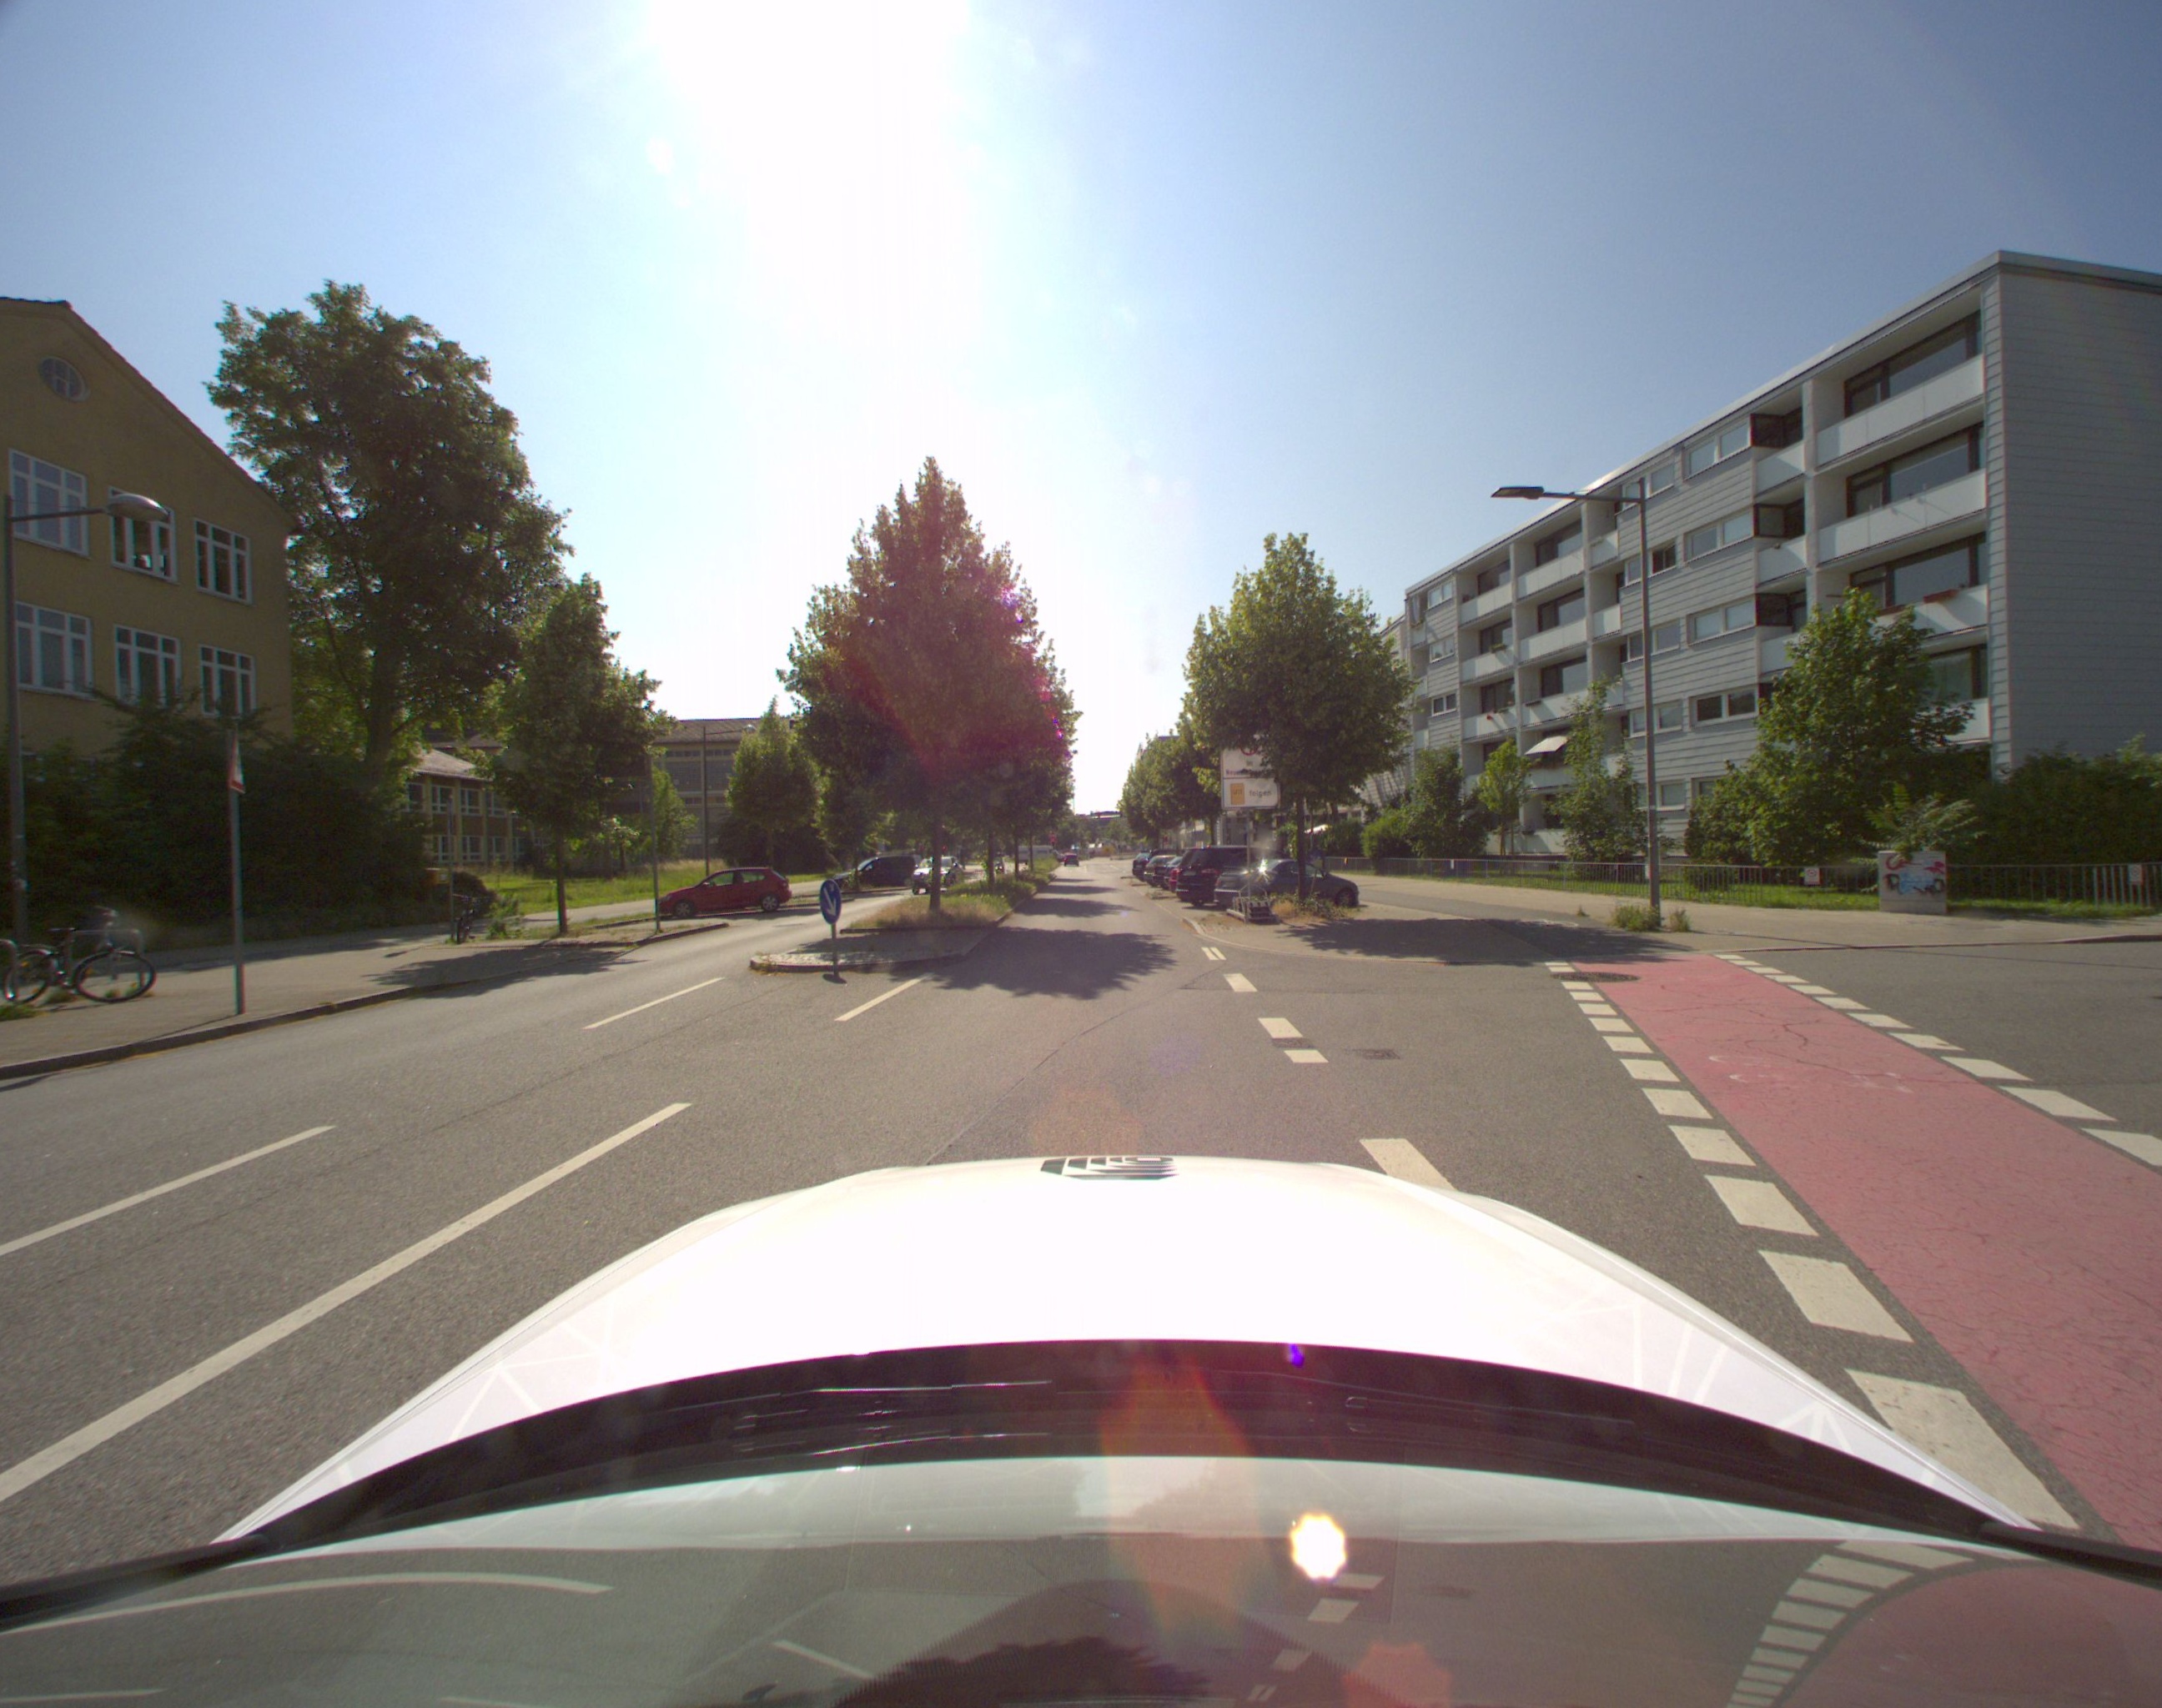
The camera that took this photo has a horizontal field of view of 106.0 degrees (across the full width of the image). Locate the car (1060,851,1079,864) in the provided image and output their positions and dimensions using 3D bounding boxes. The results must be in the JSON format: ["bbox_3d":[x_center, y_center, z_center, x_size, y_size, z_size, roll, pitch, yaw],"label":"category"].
[{"bbox_3d":[-1.373,0.350,94.695,1.989,1.398,3.996,-2,1,-3],"label":"car"}]

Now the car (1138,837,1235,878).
[{"bbox_3d":[4.719,0.140,36.651,3.990,1.640,1.746,-2,1,-12],"label":"car"}]

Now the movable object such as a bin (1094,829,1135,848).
[{"bbox_3d":[8.150,-3.751,197.369,9.639,4.549,3.165,-1,1,1],"label":"movable object such as a bin"}]

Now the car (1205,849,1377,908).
[{"bbox_3d":[5.292,0.561,20.505,4.008,1.236,1.738,-2,1,-26],"label":"car"}]

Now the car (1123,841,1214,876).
[{"bbox_3d":[4.653,0.225,43.162,4.765,1.660,1.734,-2,1,-34],"label":"car"}]

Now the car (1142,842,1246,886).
[{"bbox_3d":[4.742,0.365,34.138,4.003,1.639,1.740,-2,2,-22],"label":"car"}]

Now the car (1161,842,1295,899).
[{"bbox_3d":[4.753,0.508,26.217,4.014,1.640,1.861,-2,-1,-32],"label":"car"}]

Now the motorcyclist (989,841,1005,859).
[{"bbox_3d":[-5.645,-0.281,54.861,0.897,1.221,1.062,-1,1,1],"label":"motorcyclist"}]

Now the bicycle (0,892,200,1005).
[{"bbox_3d":[-12.679,1.163,10.109,2.538,1.256,0.739,-2,1,-3],"label":"bicycle"}]

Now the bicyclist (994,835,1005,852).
[{"bbox_3d":[-14.270,-1.813,142.129,1.594,2.931,2.353,-2,0,0],"label":"bicyclist"}]

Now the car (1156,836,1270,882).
[{"bbox_3d":[5.114,0.166,31.676,3.999,1.640,1.789,-2,1,-19],"label":"car"}]

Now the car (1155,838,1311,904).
[{"bbox_3d":[4.398,0.430,23.344,4.136,1.640,2.023,-2,1,-33],"label":"car"}]

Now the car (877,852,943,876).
[{"bbox_3d":[-11.123,0.640,53.068,3.859,1.423,1.697,-2,0,-36],"label":"car"}]

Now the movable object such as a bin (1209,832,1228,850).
[{"bbox_3d":[12.634,-1.170,74.818,1.304,1.592,1.394,-4,1,-3],"label":"movable object such as a bin"}]

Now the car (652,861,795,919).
[{"bbox_3d":[-11.373,1.099,26.185,4.002,1.466,1.986,-3,1,-21],"label":"car"}]

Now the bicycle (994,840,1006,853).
[{"bbox_3d":[-14.255,-1.312,142.951,1.594,2.269,4.000,-2,0,0],"label":"bicycle"}]

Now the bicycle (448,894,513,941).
[{"bbox_3d":[-13.203,1.373,17.942,0.520,0.903,1.268,-3,0,-5],"label":"bicycle"}]

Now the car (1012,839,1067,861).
[{"bbox_3d":[-5.667,-0.560,112.360,7.413,2.674,2.900,-2,1,-4],"label":"car"}]

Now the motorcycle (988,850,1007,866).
[{"bbox_3d":[-5.627,0.268,55.005,0.920,0.992,2.236,-1,1,1],"label":"motorcycle"}]

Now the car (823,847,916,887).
[{"bbox_3d":[-10.945,0.644,42.263,4.209,1.816,1.982,-3,2,-38],"label":"car"}]

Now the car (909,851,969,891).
[{"bbox_3d":[-6.118,0.682,35.571,1.735,1.547,4.074,-3,0,1],"label":"car"}]

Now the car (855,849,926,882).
[{"bbox_3d":[-11.258,0.650,48.190,3.782,1.772,1.804,-2,0,-26],"label":"car"}]

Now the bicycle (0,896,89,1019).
[{"bbox_3d":[-12.699,1.178,8.936,2.509,1.256,0.739,-3,1,-3],"label":"bicycle"}]
